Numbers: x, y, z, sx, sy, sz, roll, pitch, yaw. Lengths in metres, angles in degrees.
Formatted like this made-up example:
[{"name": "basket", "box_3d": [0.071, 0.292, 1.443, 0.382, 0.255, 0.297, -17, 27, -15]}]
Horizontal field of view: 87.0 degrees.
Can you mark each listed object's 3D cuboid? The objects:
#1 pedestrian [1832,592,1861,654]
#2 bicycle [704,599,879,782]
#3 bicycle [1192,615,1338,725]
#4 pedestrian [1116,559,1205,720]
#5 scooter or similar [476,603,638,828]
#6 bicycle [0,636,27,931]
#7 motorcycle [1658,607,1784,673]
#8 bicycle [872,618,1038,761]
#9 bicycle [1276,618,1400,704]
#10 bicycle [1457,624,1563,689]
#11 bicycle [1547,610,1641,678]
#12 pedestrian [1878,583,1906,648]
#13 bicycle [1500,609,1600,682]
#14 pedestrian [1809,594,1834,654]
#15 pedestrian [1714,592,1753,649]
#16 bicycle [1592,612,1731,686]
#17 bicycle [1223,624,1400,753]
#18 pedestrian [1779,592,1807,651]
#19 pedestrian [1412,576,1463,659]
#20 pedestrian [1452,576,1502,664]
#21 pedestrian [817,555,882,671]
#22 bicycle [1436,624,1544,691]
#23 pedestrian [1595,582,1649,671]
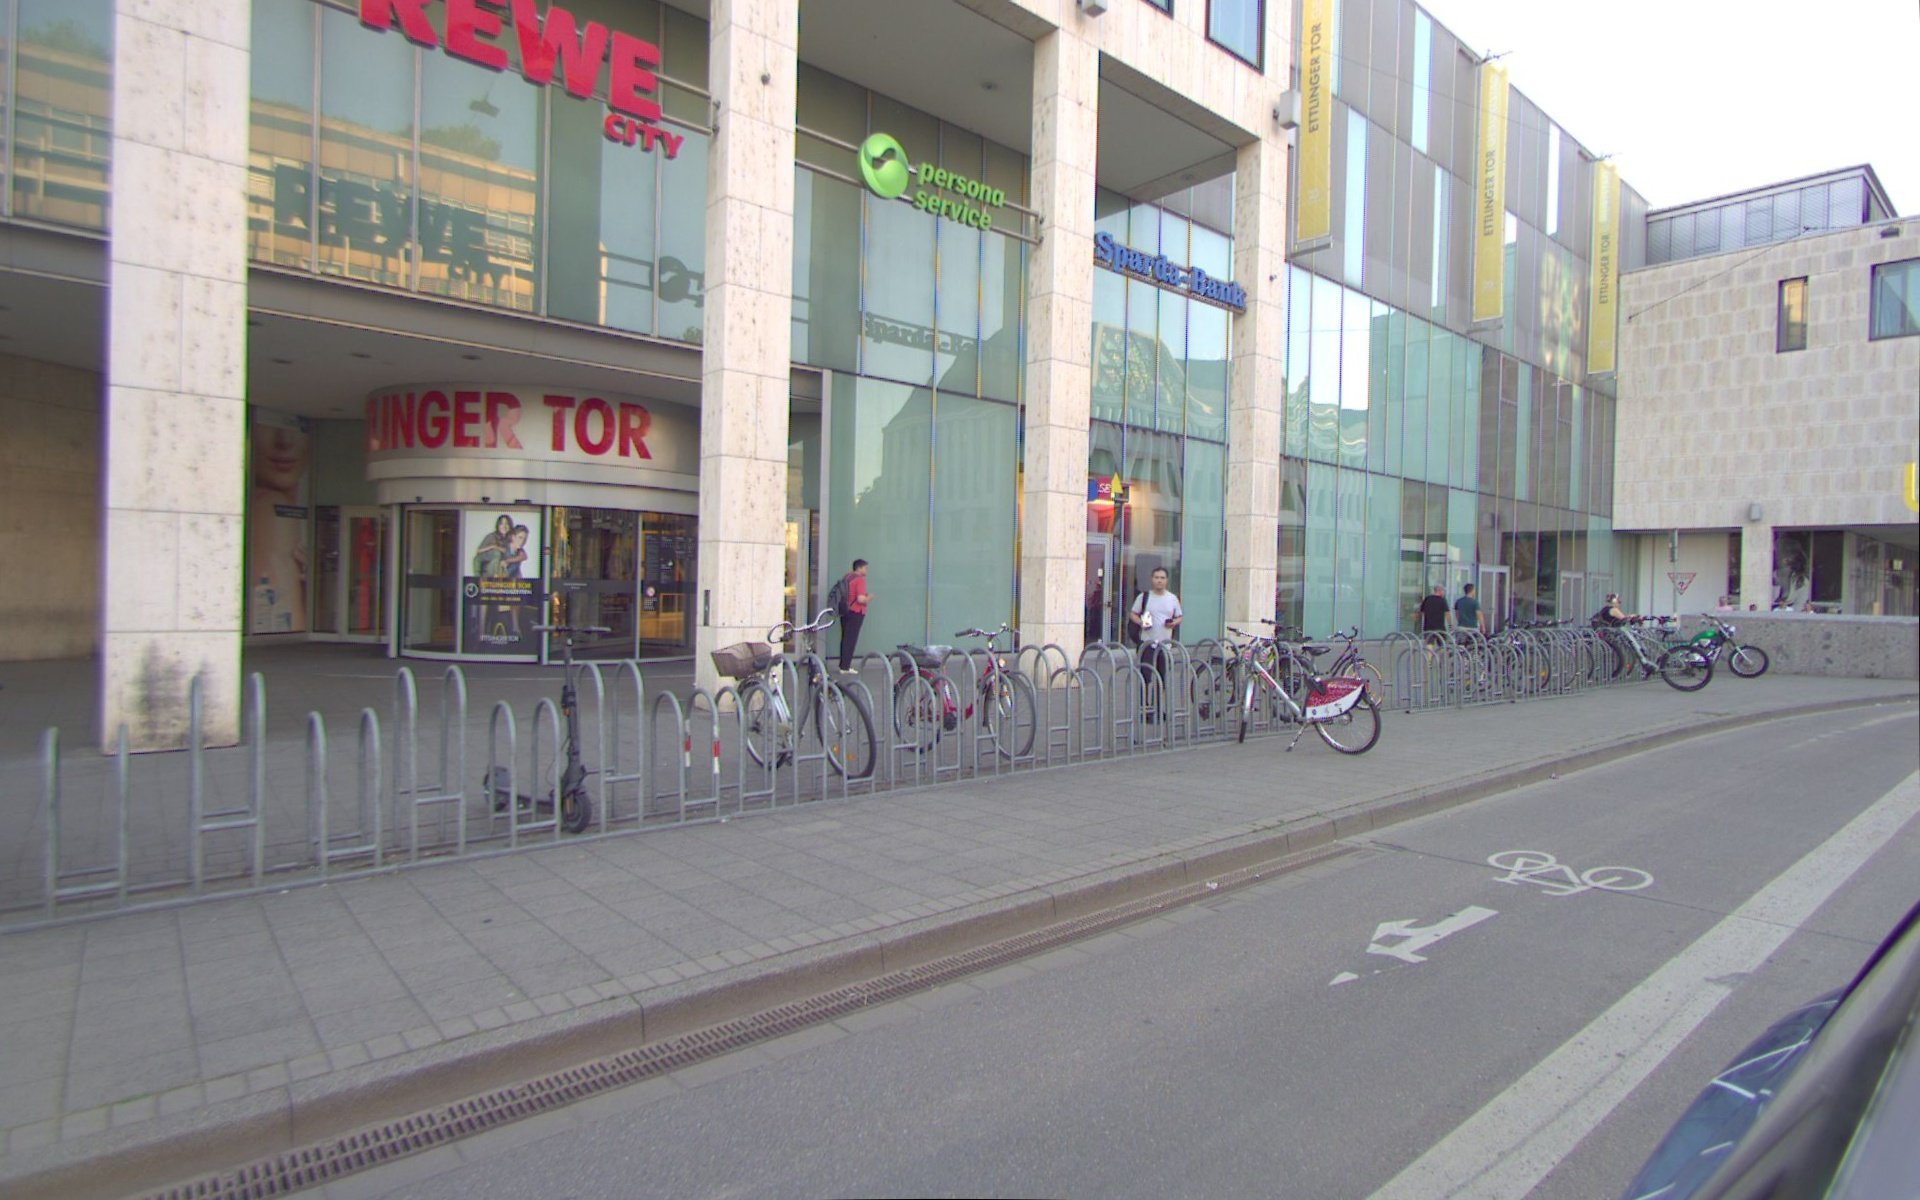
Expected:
[{"name": "pedestrian", "box_3d": [25.661, 0.669, 29.290, 0.483, 1.765, 0.504, 1, 1, -38]}, {"name": "bicycle", "box_3d": [-1.306, 0.626, 7.667, 0.607, 1.243, 1.517, 1, -2, -41]}, {"name": "bicycle", "box_3d": [3.379, 0.742, 11.310, 0.569, 1.138, 1.519, 1, -2, -36]}, {"name": "pedestrian", "box_3d": [2.226, 0.414, 11.257, 0.617, 1.713, 0.708, 1, 1, -32]}, {"name": "scooter or similar", "box_3d": [-2.518, 0.651, 6.275, 0.484, 1.214, 1.194, 1, 1, -44]}, {"name": "bicycle", "box_3d": [-4.554, 0.732, 4.477, 1.768, 1.092, 0.475, 3, 1, 43]}, {"name": "motorcycle", "box_3d": [15.579, 0.791, 20.767, 0.472, 1.239, 2.004, 1, 1, -43]}, {"name": "bicycle", "box_3d": [-0.074, 0.714, 8.670, 0.543, 1.120, 1.516, 1, -2, -43]}, {"name": "bicycle", "box_3d": [5.013, 0.781, 13.450, 1.439, 1.078, 0.572, -1, -2, 39]}, {"name": "bicycle", "box_3d": [8.455, 0.855, 15.585, 0.509, 0.944, 1.344, 1, -2, -41]}, {"name": "bicycle", "box_3d": [11.394, 0.770, 18.220, 0.509, 1.179, 1.344, 1, -2, -41]}, {"name": "pedestrian", "box_3d": [25.624, 0.415, 27.835, 0.483, 1.765, 0.455, 1, 1, -38]}, {"name": "bicycle", "box_3d": [9.831, 0.737, 16.896, 0.509, 1.179, 1.344, 1, -2, -41]}, {"name": "pedestrian", "box_3d": [26.154, 0.723, 30.709, 0.483, 1.765, 0.455, 1, 1, -38]}, {"name": "pedestrian", "box_3d": [24.282, 0.635, 31.770, 0.644, 1.765, 0.794, 1, 1, -38]}, {"name": "bicycle", "box_3d": [11.566, 0.774, 16.745, 0.458, 1.161, 1.837, 1, -2, -39]}, {"name": "bicycle", "box_3d": [3.171, 0.760, 9.247, 0.458, 1.077, 1.518, 1, -2, -39]}, {"name": "pedestrian", "box_3d": [25.196, 0.637, 30.622, 0.644, 1.765, 0.494, 1, 1, -38]}, {"name": "pedestrian", "box_3d": [9.904, 0.352, 20.996, 0.738, 1.668, 0.808, 2, 1, 41]}, {"name": "pedestrian", "box_3d": [10.440, 0.387, 20.433, 0.696, 1.717, 0.808, 2, 1, 41]}, {"name": "pedestrian", "box_3d": [-1.653, 0.180, 15.086, 0.695, 1.672, 0.629, 1, 1, -40]}, {"name": "bicycle", "box_3d": [7.945, 0.843, 15.207, 0.509, 0.944, 1.344, 1, -2, -41]}, {"name": "pedestrian", "box_3d": [12.708, 0.494, 19.446, 0.802, 1.663, 0.640, 2, 1, 31]}]
